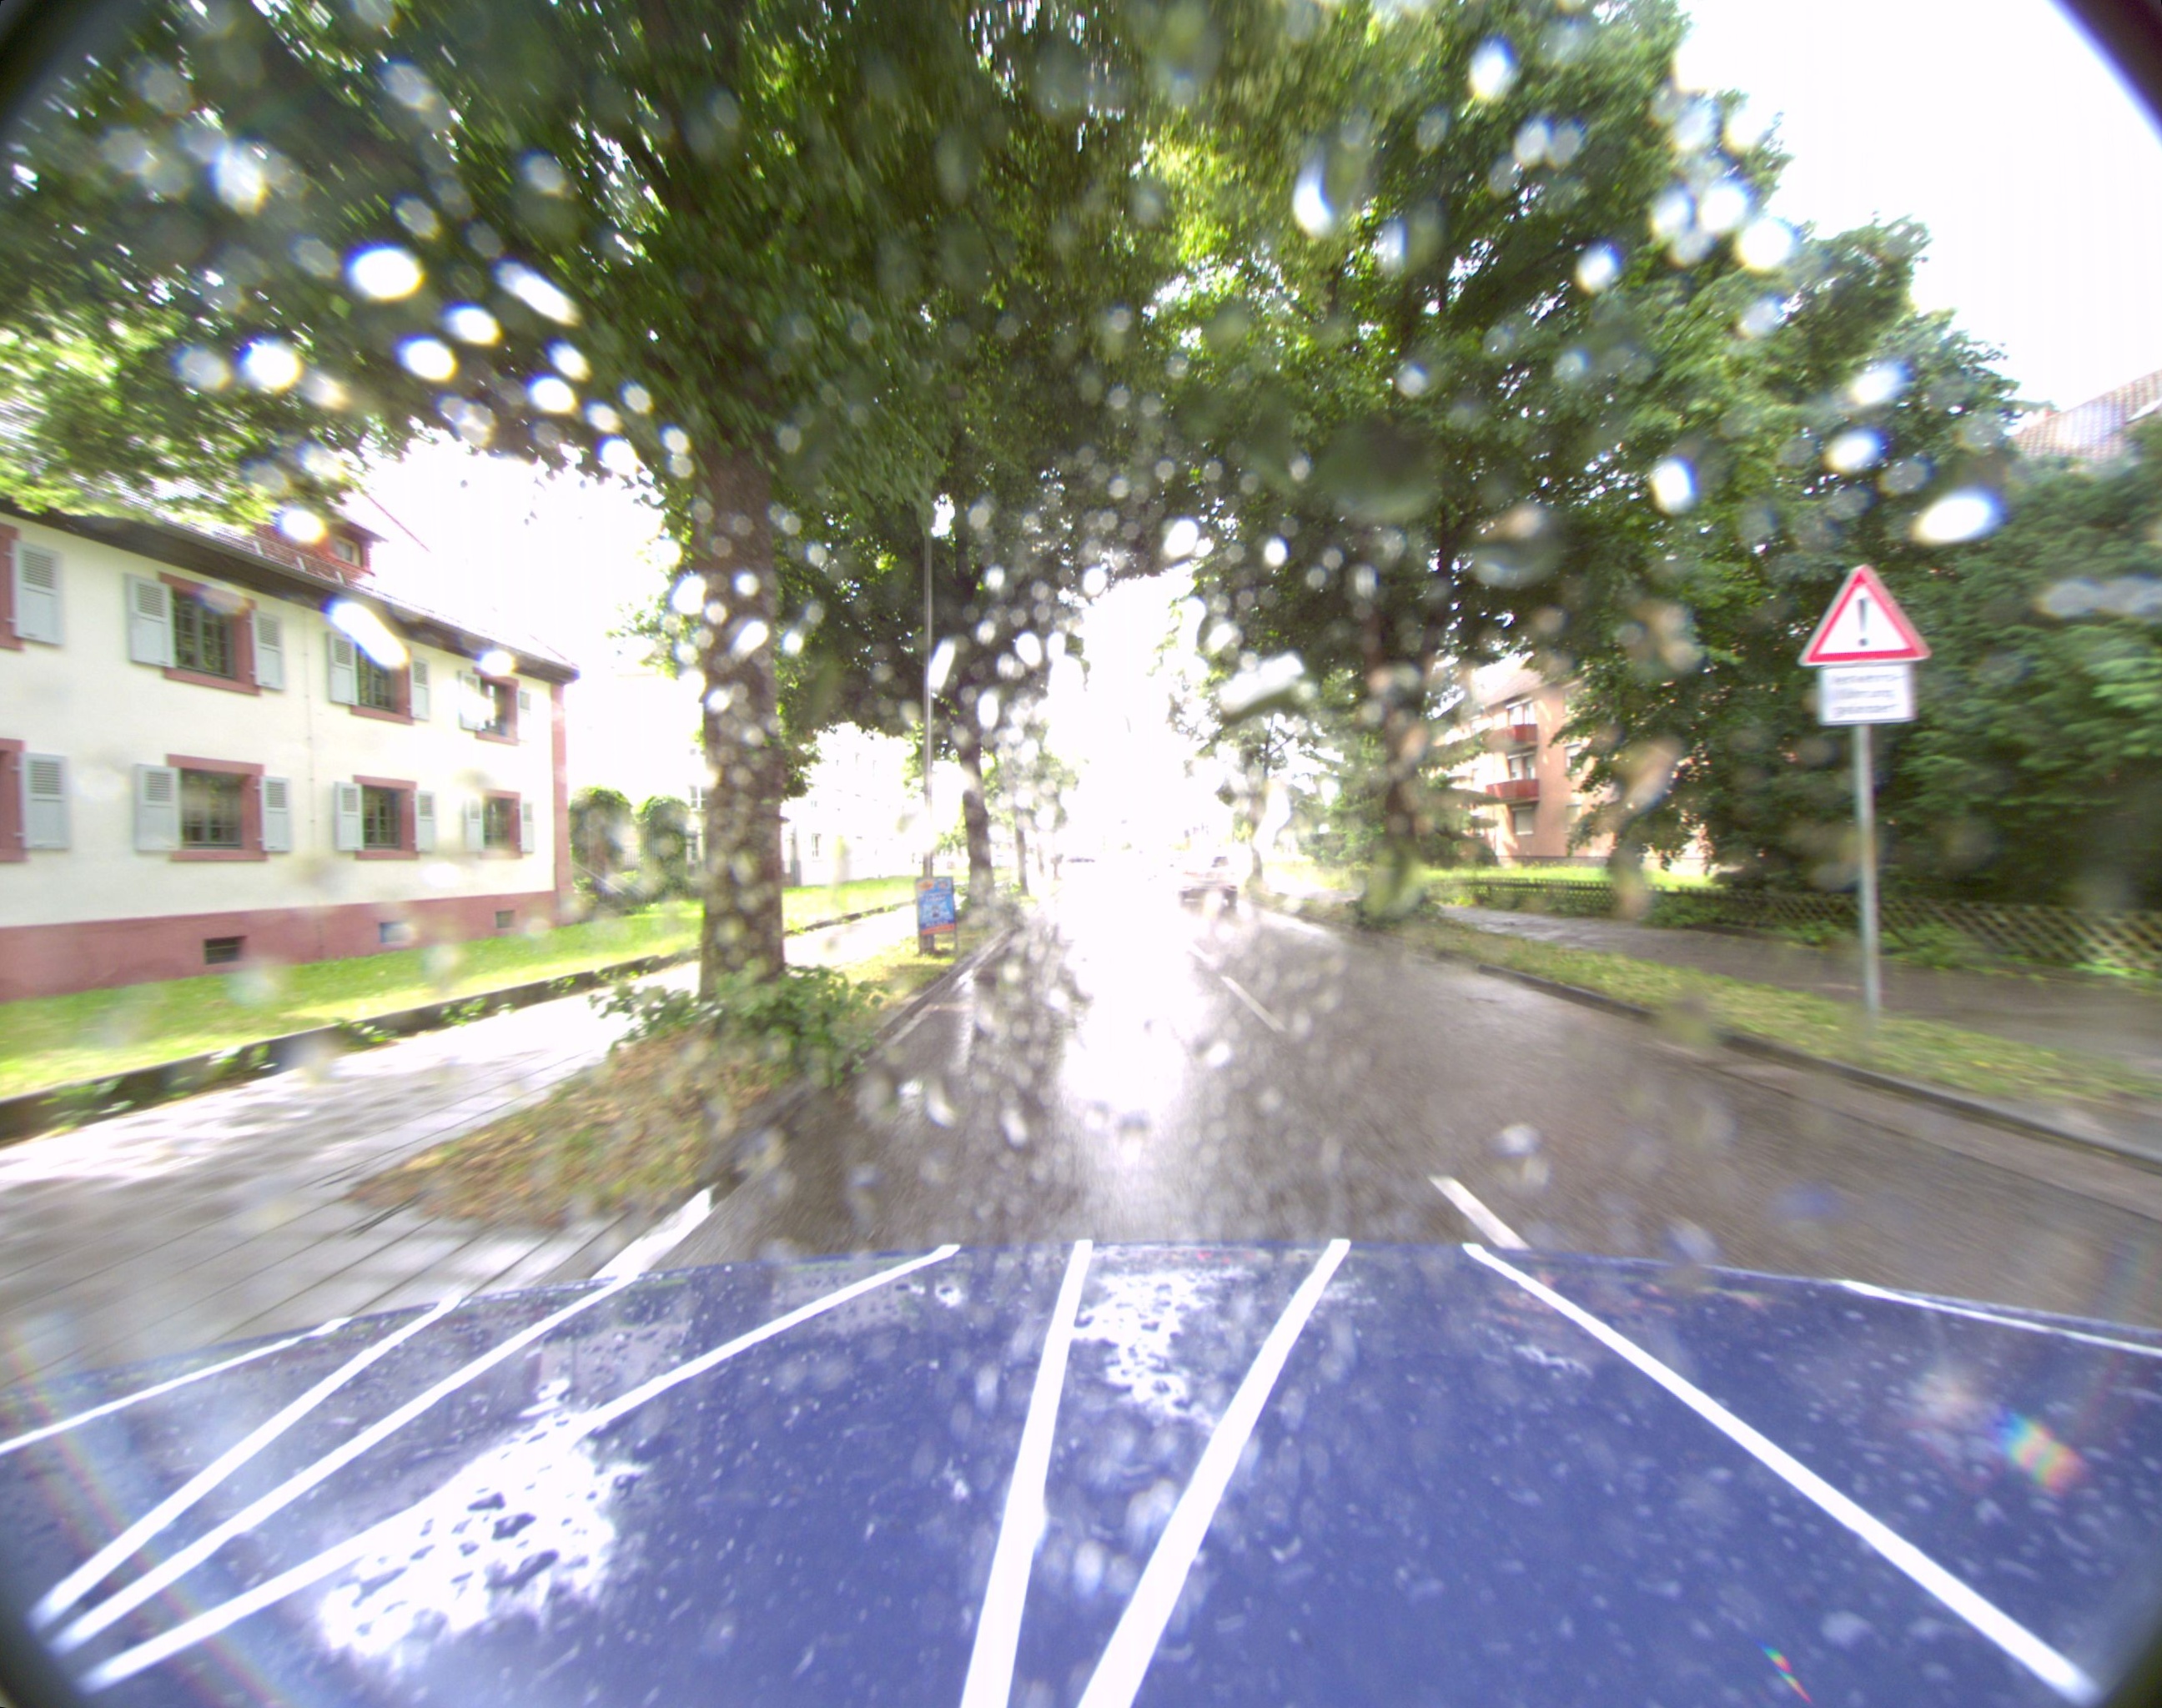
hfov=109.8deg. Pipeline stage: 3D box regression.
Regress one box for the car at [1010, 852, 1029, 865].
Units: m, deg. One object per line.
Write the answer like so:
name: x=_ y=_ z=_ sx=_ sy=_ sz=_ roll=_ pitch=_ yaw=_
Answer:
car: x=-8.334 y=0.533 z=102.805 sx=1.893 sy=1.703 sz=4.224 roll=-1 pitch=0 yaw=-12

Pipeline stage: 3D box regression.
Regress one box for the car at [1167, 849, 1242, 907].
car: x=3.974 y=0.715 z=25.064 sx=1.891 sy=1.703 sz=4.229 roll=-1 pitch=0 yaw=2

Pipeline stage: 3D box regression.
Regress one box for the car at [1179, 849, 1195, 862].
car: x=13.178 y=0.192 z=94.292 sx=1.683 sy=1.499 sz=3.794 roll=-1 pitch=0 yaw=4
